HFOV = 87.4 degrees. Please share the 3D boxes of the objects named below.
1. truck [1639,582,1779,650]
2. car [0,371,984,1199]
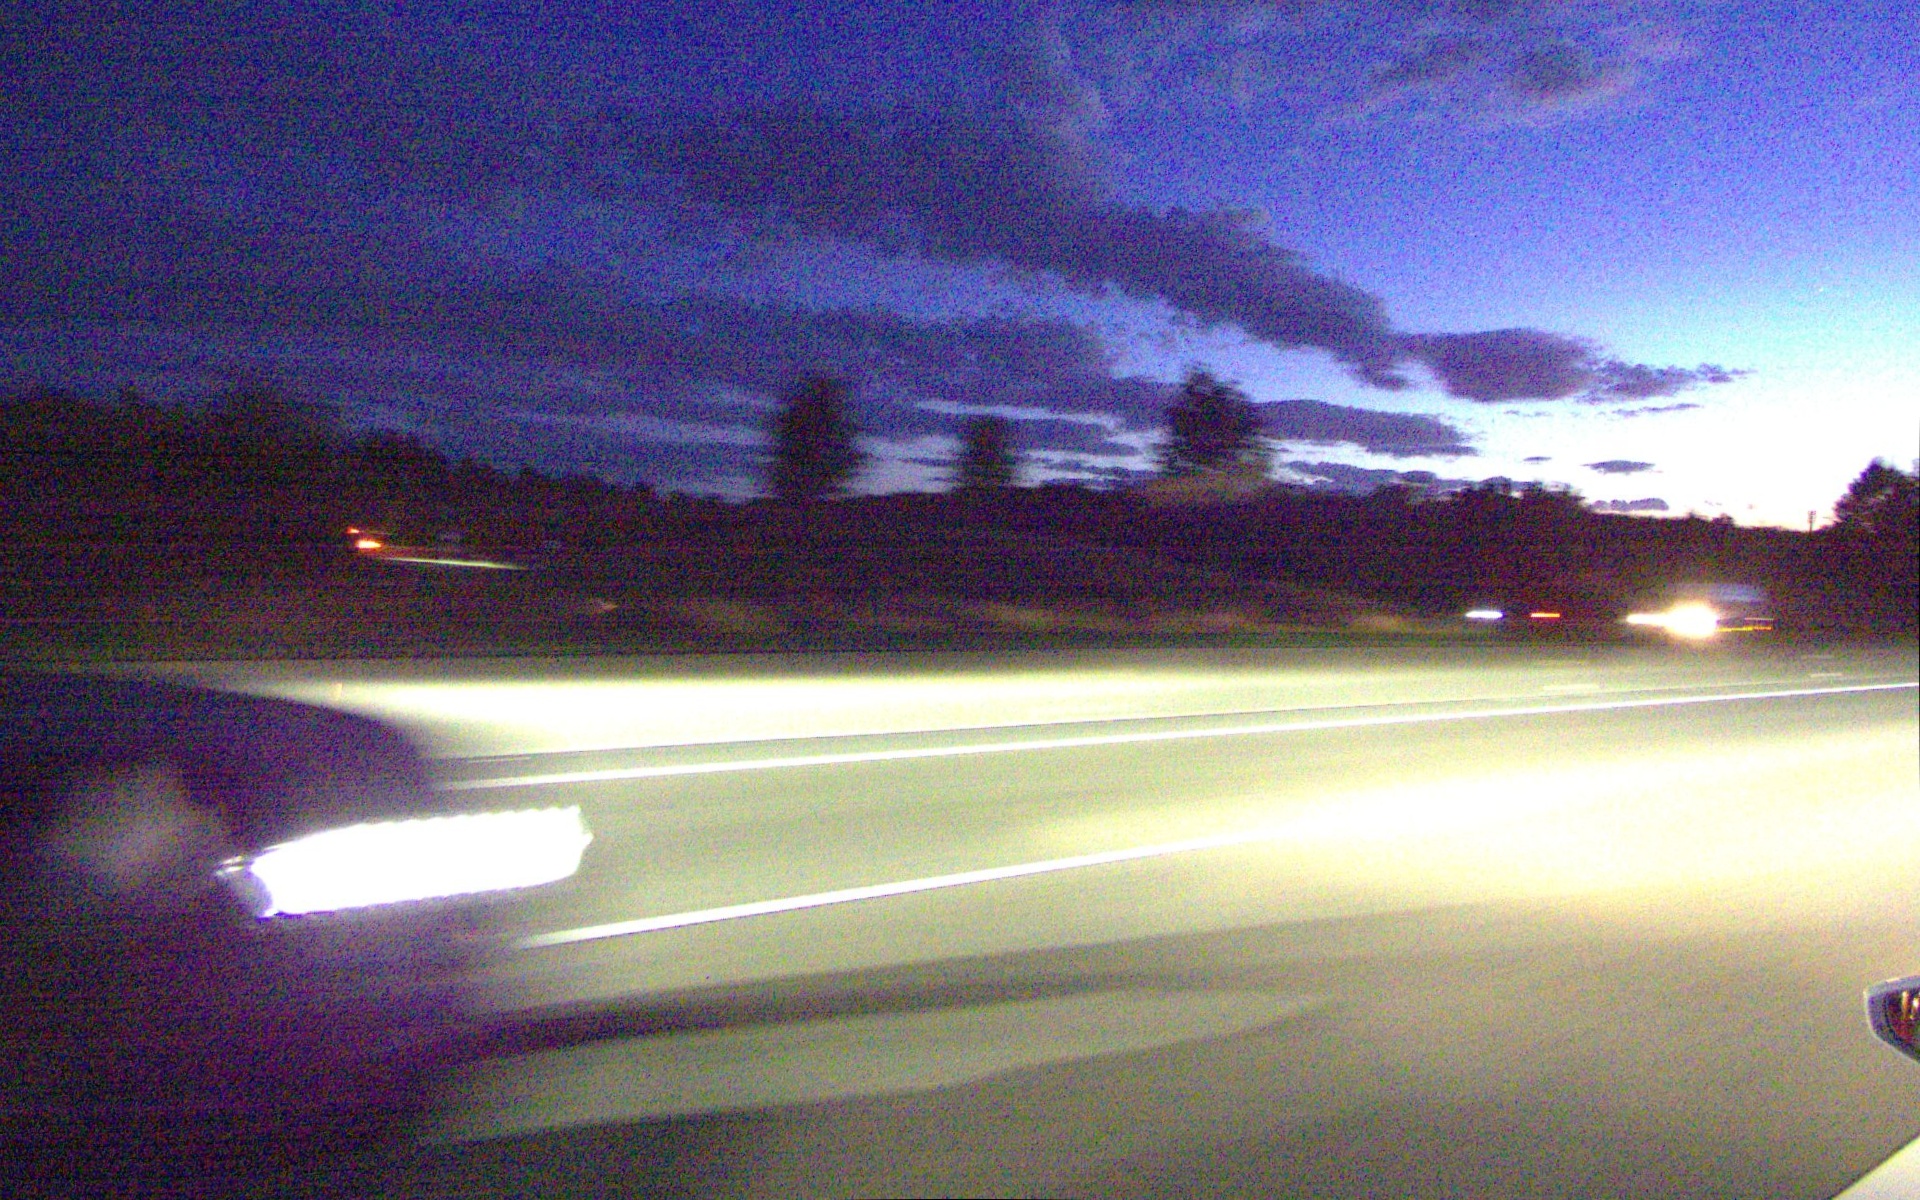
[{"bbox_3d":[33.968,0.700,45.483,7.534,2.763,2.186,1,3,-30],"label":"truck"},{"bbox_3d":[-2.964,0.534,1.680,5.872,1.744,1.984,1,-1,-30],"label":"car"}]
